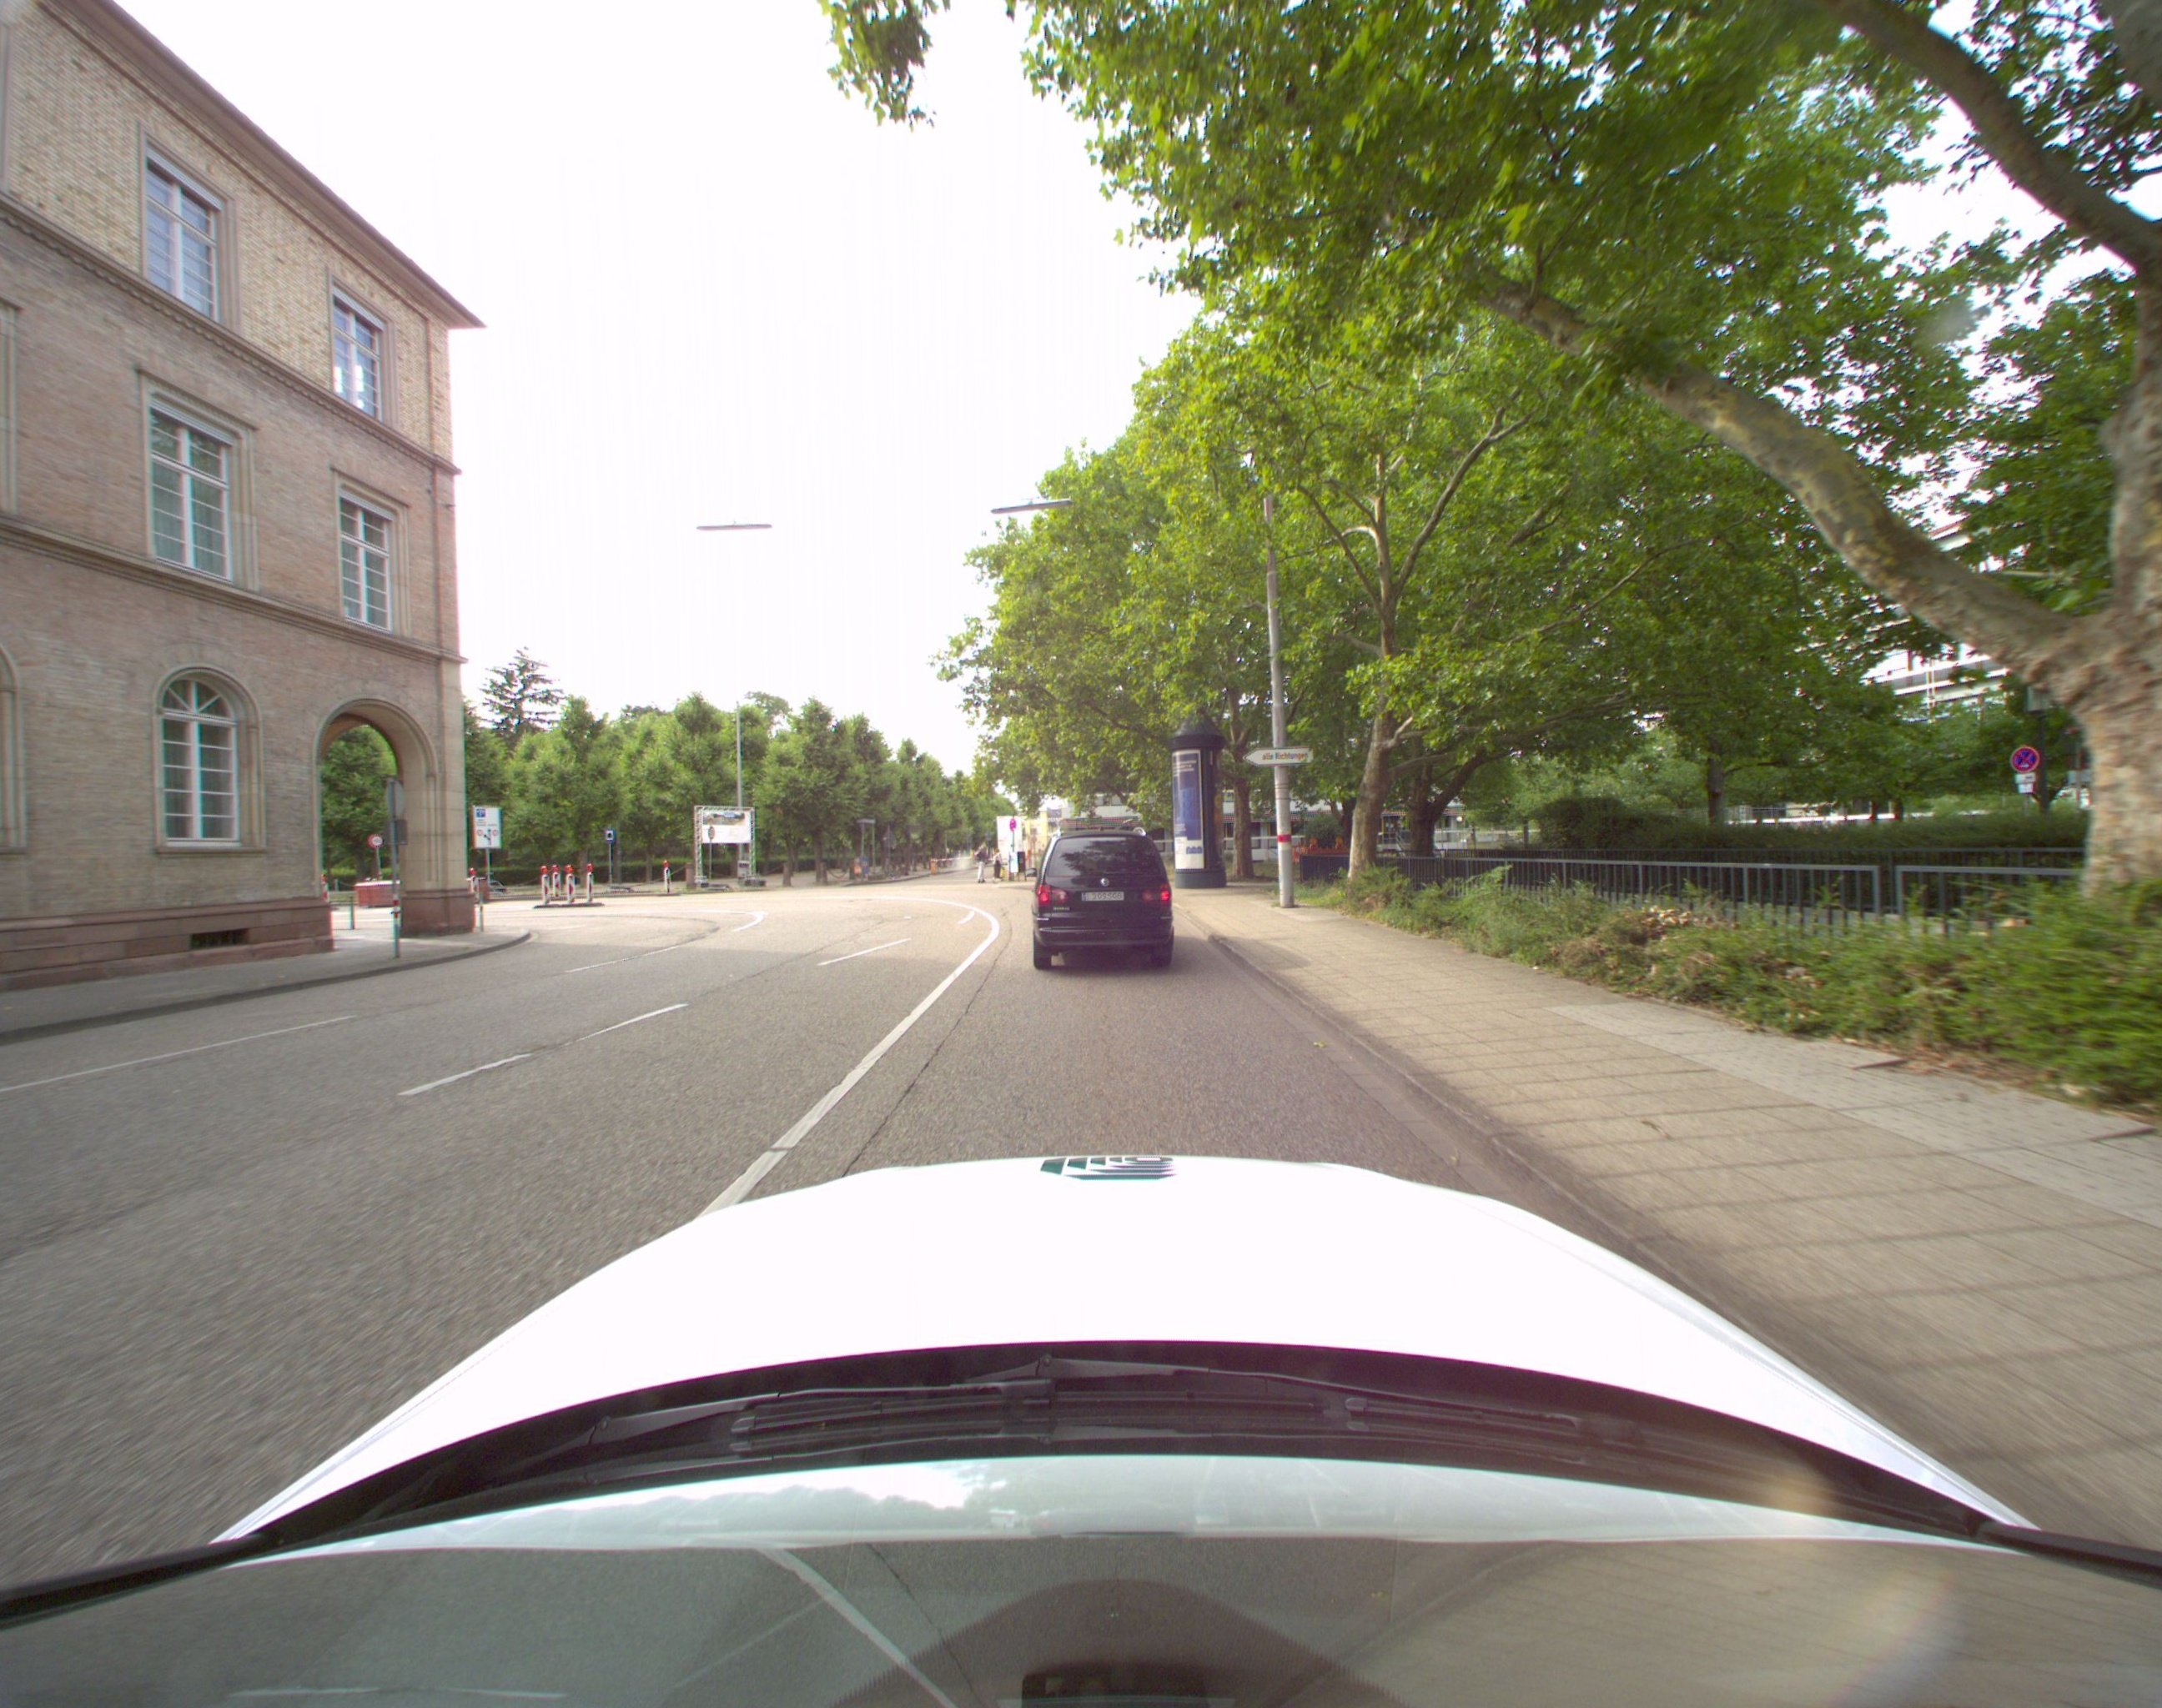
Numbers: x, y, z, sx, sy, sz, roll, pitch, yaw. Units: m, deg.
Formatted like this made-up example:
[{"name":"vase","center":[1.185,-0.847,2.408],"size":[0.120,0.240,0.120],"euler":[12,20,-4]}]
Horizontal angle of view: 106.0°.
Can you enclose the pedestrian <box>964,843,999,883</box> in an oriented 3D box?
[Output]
[{"name":"pedestrian","center":[-4.495,0.386,36.803],"size":[0.951,1.741,1.264],"euler":[0,1,39]}]

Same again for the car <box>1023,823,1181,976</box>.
[{"name":"car","center":[0.166,0.506,11.533],"size":[1.789,1.708,4.127],"euler":[-2,1,-3]}]

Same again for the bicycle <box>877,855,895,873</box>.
[{"name":"bicycle","center":[-12.501,0.624,52.230],"size":[0.954,1.110,2.565],"euler":[0,1,-17]}]

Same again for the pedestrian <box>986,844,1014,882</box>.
[{"name":"pedestrian","center":[-3.607,0.384,36.417],"size":[0.887,1.641,0.858],"euler":[0,0,36]}]
